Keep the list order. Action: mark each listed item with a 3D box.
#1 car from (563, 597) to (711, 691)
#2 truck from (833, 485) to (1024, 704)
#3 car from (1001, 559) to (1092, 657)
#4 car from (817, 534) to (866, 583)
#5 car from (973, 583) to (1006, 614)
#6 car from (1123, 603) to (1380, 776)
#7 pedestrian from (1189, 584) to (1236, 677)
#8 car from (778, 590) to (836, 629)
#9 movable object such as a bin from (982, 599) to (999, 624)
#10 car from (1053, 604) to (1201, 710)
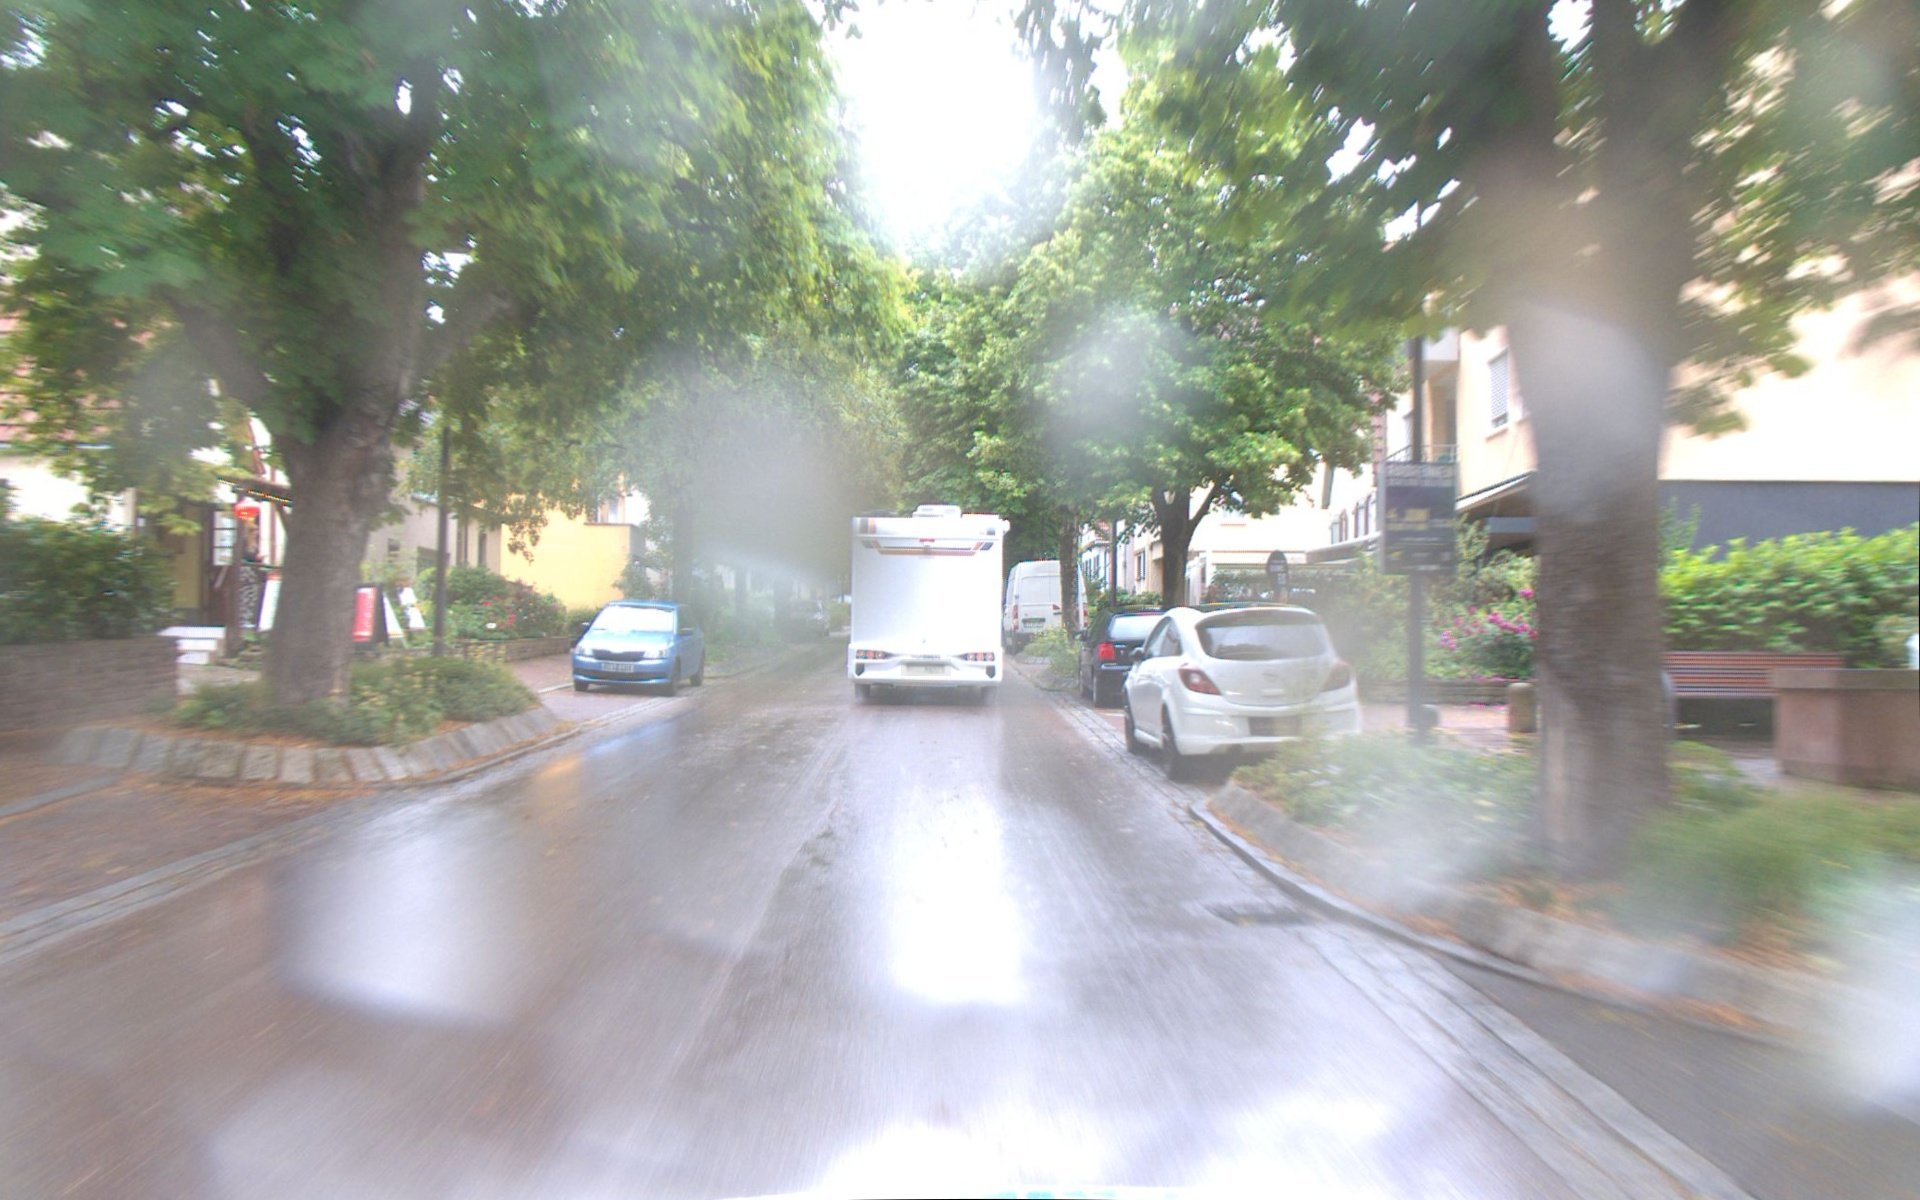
[{"bbox_3d":[-5.298,0.690,27.586,1.714,1.420,3.795,1,0,0],"label":"car"},{"bbox_3d":[-0.481,-0.063,26.367,2.640,3.038,6.235,1,0,-1],"label":"truck"},{"bbox_3d":[2.313,0.209,45.664,2.097,2.503,5.434,1,0,-1],"label":"car"},{"bbox_3d":[-5.345,-1.852,74.842,1.953,2.049,3.999,1,0,-1],"label":"car"},{"bbox_3d":[1.826,-0.105,102.425,1.875,1.823,4.488,1,1,-1],"label":"car"},{"bbox_3d":[2.603,0.747,15.598,1.646,1.424,3.793,0,0,-2],"label":"car"},{"bbox_3d":[4.836,0.588,31.728,0.753,1.762,0.491,0,0,-13],"label":"pedestrian"},{"bbox_3d":[-5.909,0.354,64.284,1.736,1.413,4.545,2,0,0],"label":"car"},{"bbox_3d":[1.329,0.502,72.379,0.674,1.101,0.540,1,0,-5],"label":"movable object such as a bin"},{"bbox_3d":[2.445,0.799,25.018,1.772,1.435,3.782,1,0,-1],"label":"car"}]
